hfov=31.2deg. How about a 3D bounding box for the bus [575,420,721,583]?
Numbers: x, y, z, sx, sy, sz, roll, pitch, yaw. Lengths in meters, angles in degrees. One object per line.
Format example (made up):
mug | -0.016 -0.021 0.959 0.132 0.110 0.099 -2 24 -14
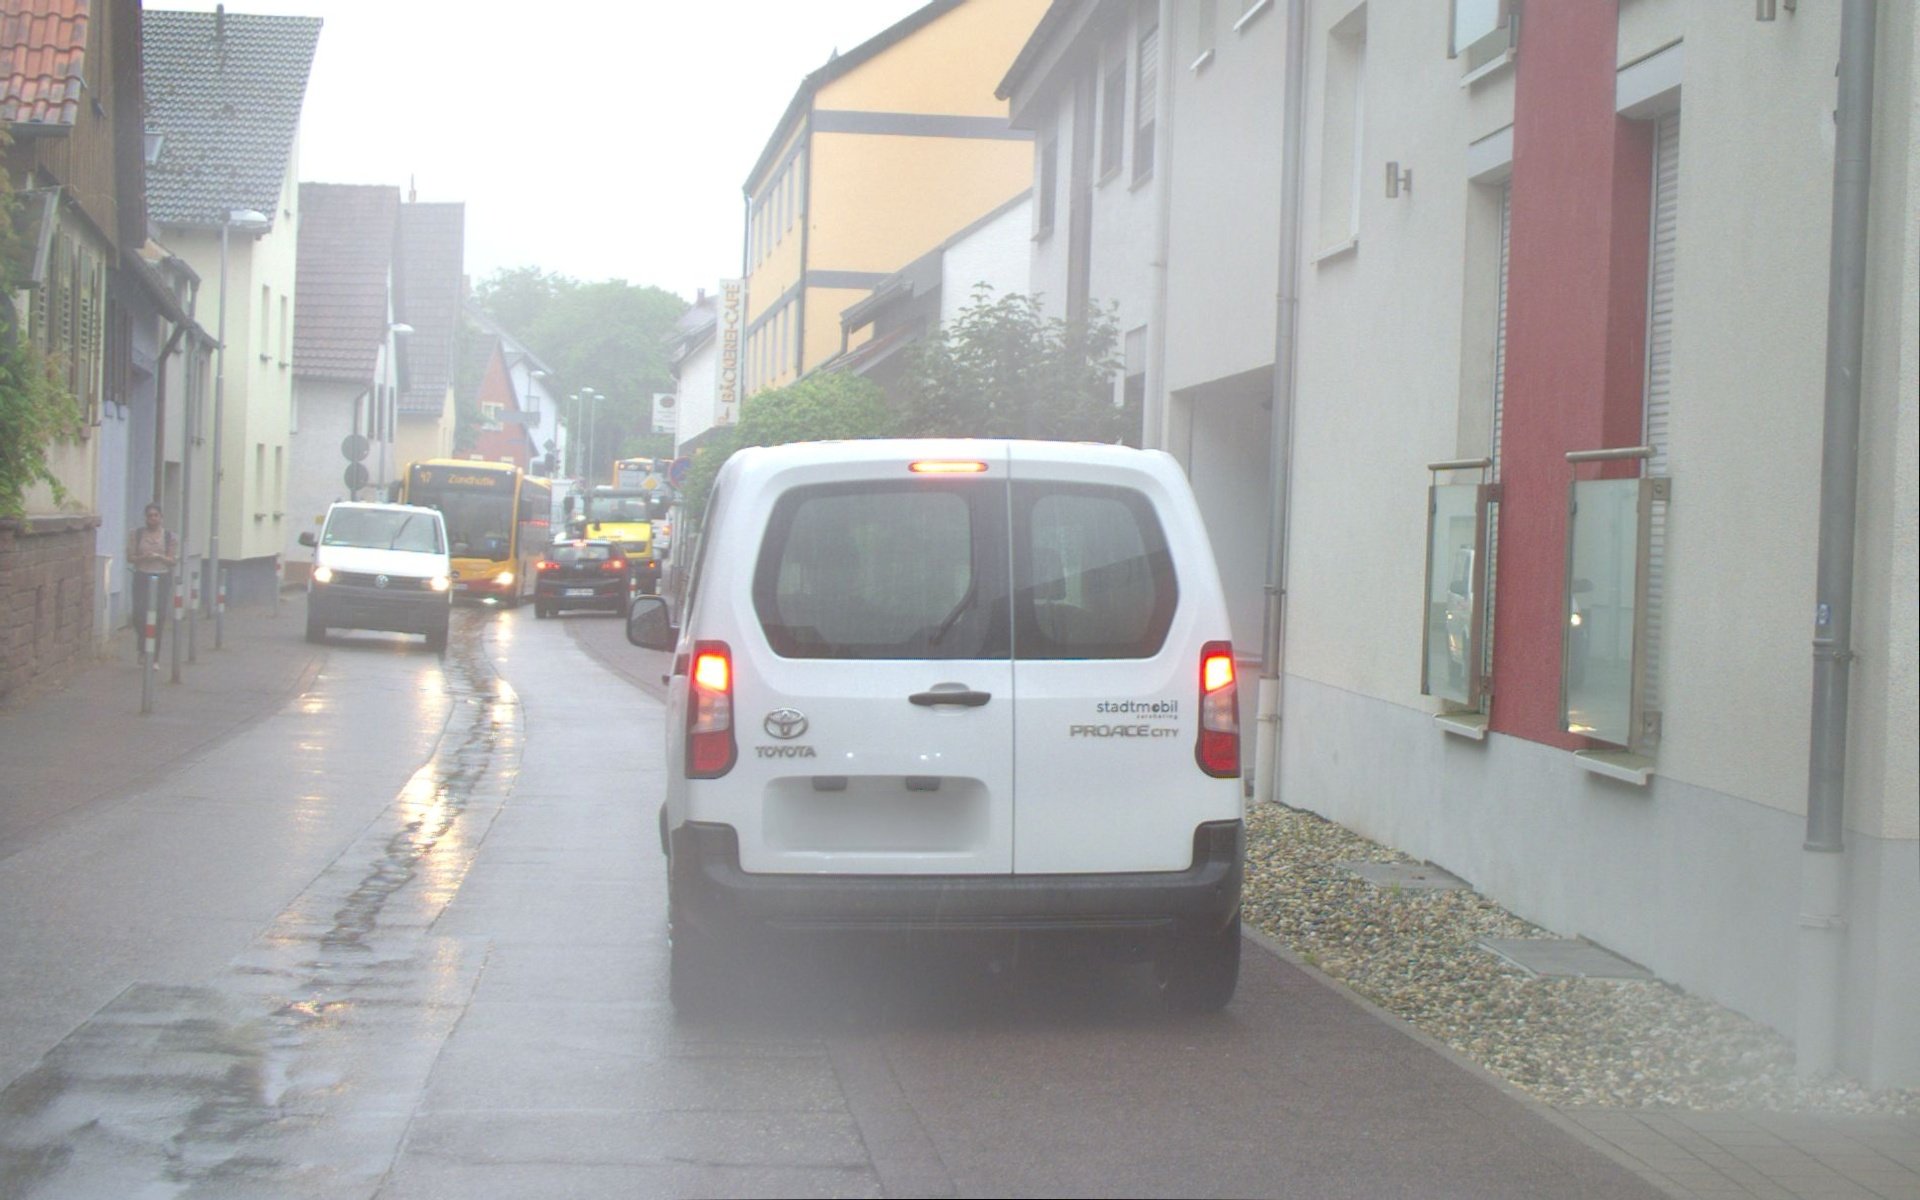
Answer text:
bus | -6.840 -2.059 74.663 2.793 3.169 8.179 4 0 -6

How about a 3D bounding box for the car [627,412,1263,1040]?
car | -0.234 0.350 12.046 1.794 1.812 4.102 0 1 -6

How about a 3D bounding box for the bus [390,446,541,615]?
bus | -10.800 -1.485 75.757 2.793 3.317 8.179 4 0 -6

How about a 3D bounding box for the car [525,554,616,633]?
car | -7.316 -0.135 64.716 1.561 1.367 3.585 3 0 -5

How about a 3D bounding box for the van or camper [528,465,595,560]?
van or camper | -12.966 -2.820 112.070 1.835 2.915 5.364 3 0 -5

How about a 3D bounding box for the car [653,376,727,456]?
car | -7.786 -5.265 99.053 1.993 2.007 4.001 3 0 -5

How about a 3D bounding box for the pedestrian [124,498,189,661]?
pedestrian | -7.623 -0.200 32.611 0.567 1.525 0.569 1 1 -15

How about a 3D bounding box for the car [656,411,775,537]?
car | -4.306 -2.167 60.200 1.827 2.007 3.695 3 0 -6

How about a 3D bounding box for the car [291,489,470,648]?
car | -7.879 -0.423 47.135 1.892 1.960 4.724 3 0 -4

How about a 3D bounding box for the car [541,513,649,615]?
car | -5.765 -0.570 54.395 1.561 1.475 3.585 3 0 -6
